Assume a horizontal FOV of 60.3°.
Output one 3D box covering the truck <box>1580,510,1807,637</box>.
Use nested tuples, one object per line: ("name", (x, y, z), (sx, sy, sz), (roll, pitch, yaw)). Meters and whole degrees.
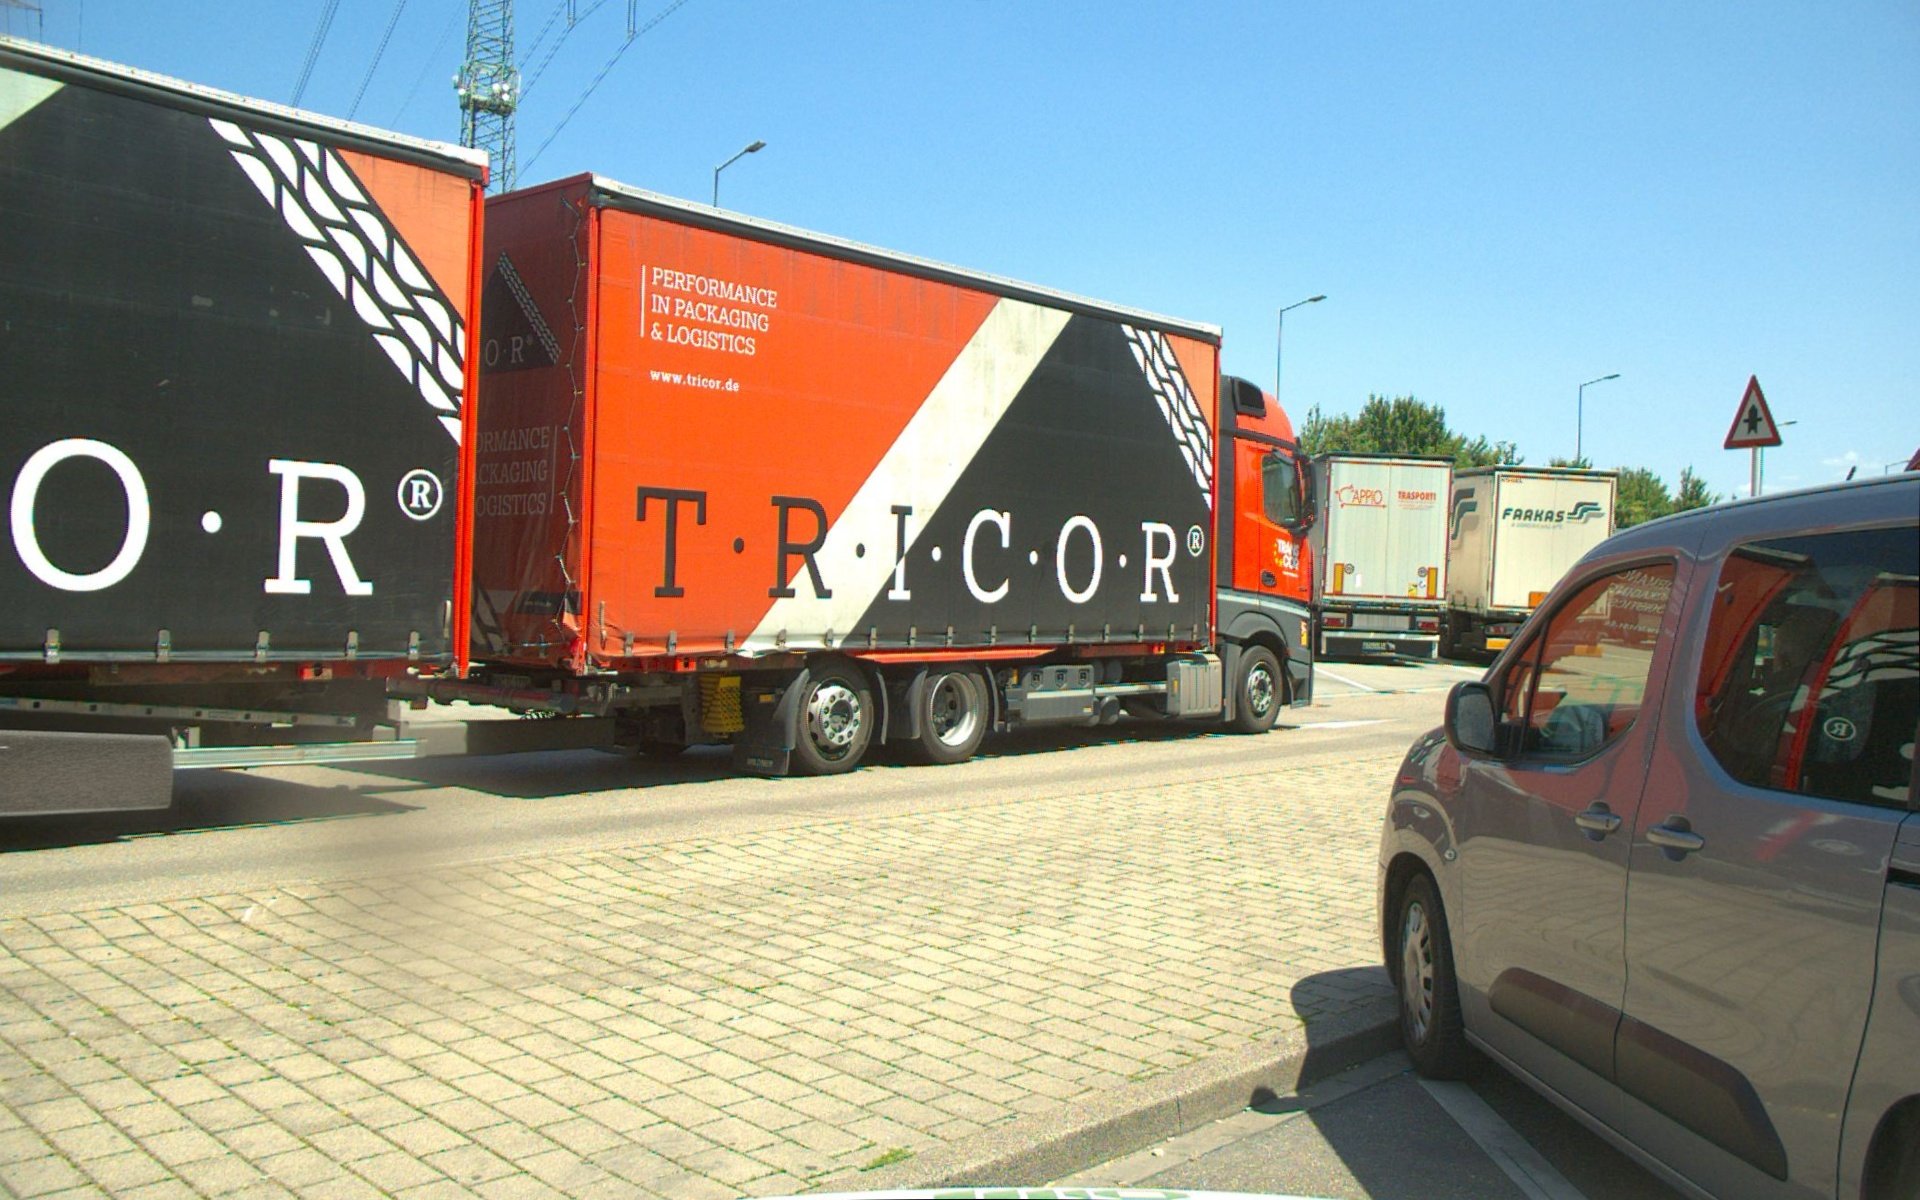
("truck", (21.962, -0.819, 50.176), (2.963, 3.497, 8.529), (1, 1, -1))

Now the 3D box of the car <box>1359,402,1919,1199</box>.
("car", (2.430, 0.551, 3.810), (1.790, 1.784, 3.997), (1, 1, -4))

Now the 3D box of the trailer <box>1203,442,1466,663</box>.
("trailer", (8.207, -1.057, 38.604), (2.818, 4.196, 13.569), (1, 1, -1))

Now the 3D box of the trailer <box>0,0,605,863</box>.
("trailer", (-6.172, -0.924, 8.291), (2.792, 4.332, 8.634), (1, 1, 41))

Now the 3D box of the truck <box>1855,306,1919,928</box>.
("truck", (4.976, 0.123, 4.931), (1.952, 2.669, 5.305), (1, 1, 3))

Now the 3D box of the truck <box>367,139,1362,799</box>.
("truck", (0.036, -0.872, 15.409), (2.645, 4.199, 10.545), (1, 1, 41))

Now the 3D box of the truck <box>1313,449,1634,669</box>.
("truck", (11.719, -0.965, 39.986), (2.846, 4.195, 14.525), (3, 1, -1))
